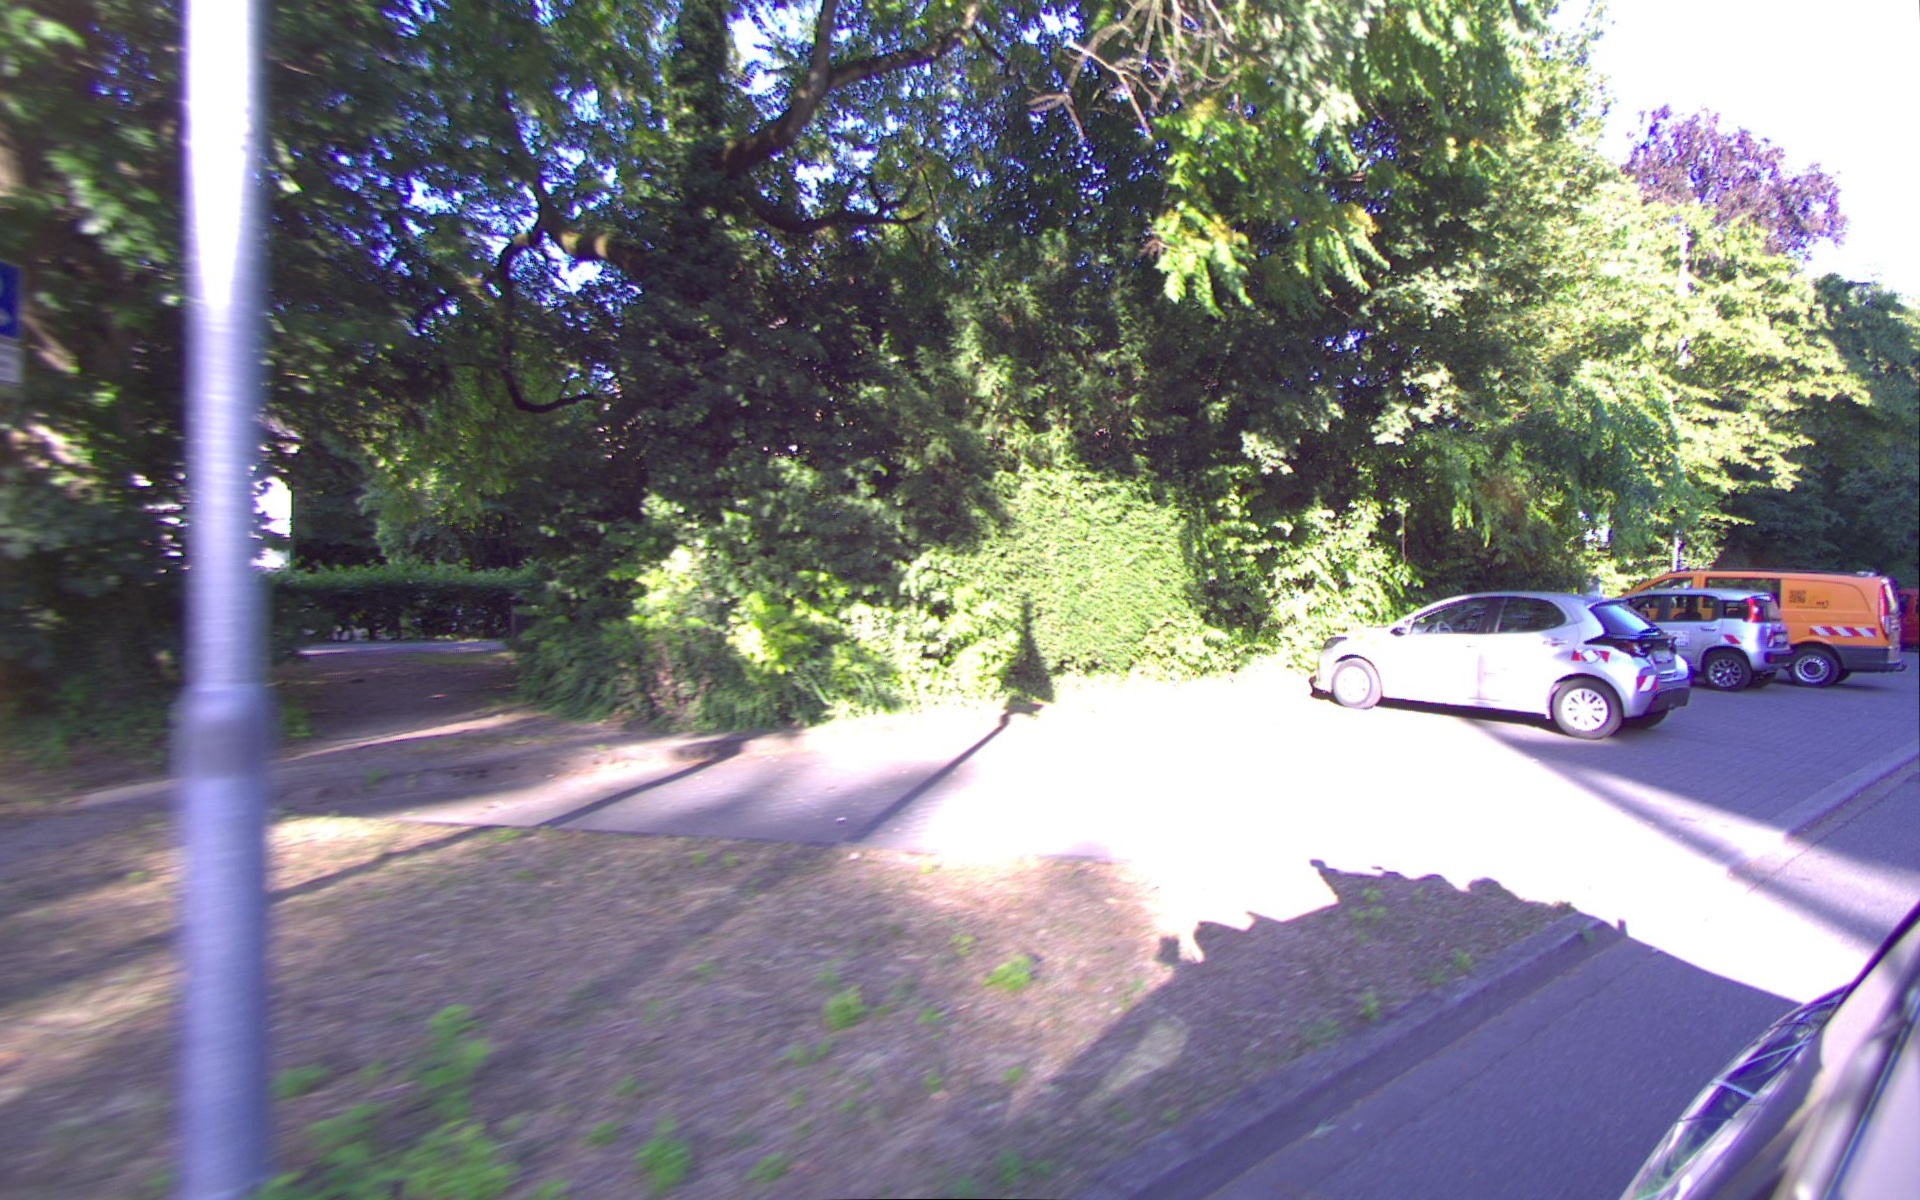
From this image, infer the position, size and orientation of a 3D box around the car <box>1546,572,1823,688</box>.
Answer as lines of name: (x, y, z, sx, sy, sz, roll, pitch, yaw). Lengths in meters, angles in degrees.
car: (12.063, 0.408, 17.020, 1.648, 1.651, 3.407, 0, 2, -37)

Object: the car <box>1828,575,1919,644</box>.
car: (27.384, 0.271, 28.544, 1.882, 1.886, 3.988, 0, 2, -32)

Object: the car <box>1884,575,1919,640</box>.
car: (29.736, 0.276, 29.610, 1.749, 1.907, 3.616, 0, 2, -33)

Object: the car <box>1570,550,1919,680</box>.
car: (14.223, 0.146, 18.534, 2.044, 2.022, 4.806, 0, 3, -40)

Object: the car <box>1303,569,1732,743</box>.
car: (6.248, 0.487, 11.748, 1.704, 1.565, 3.998, 0, 3, -38)
